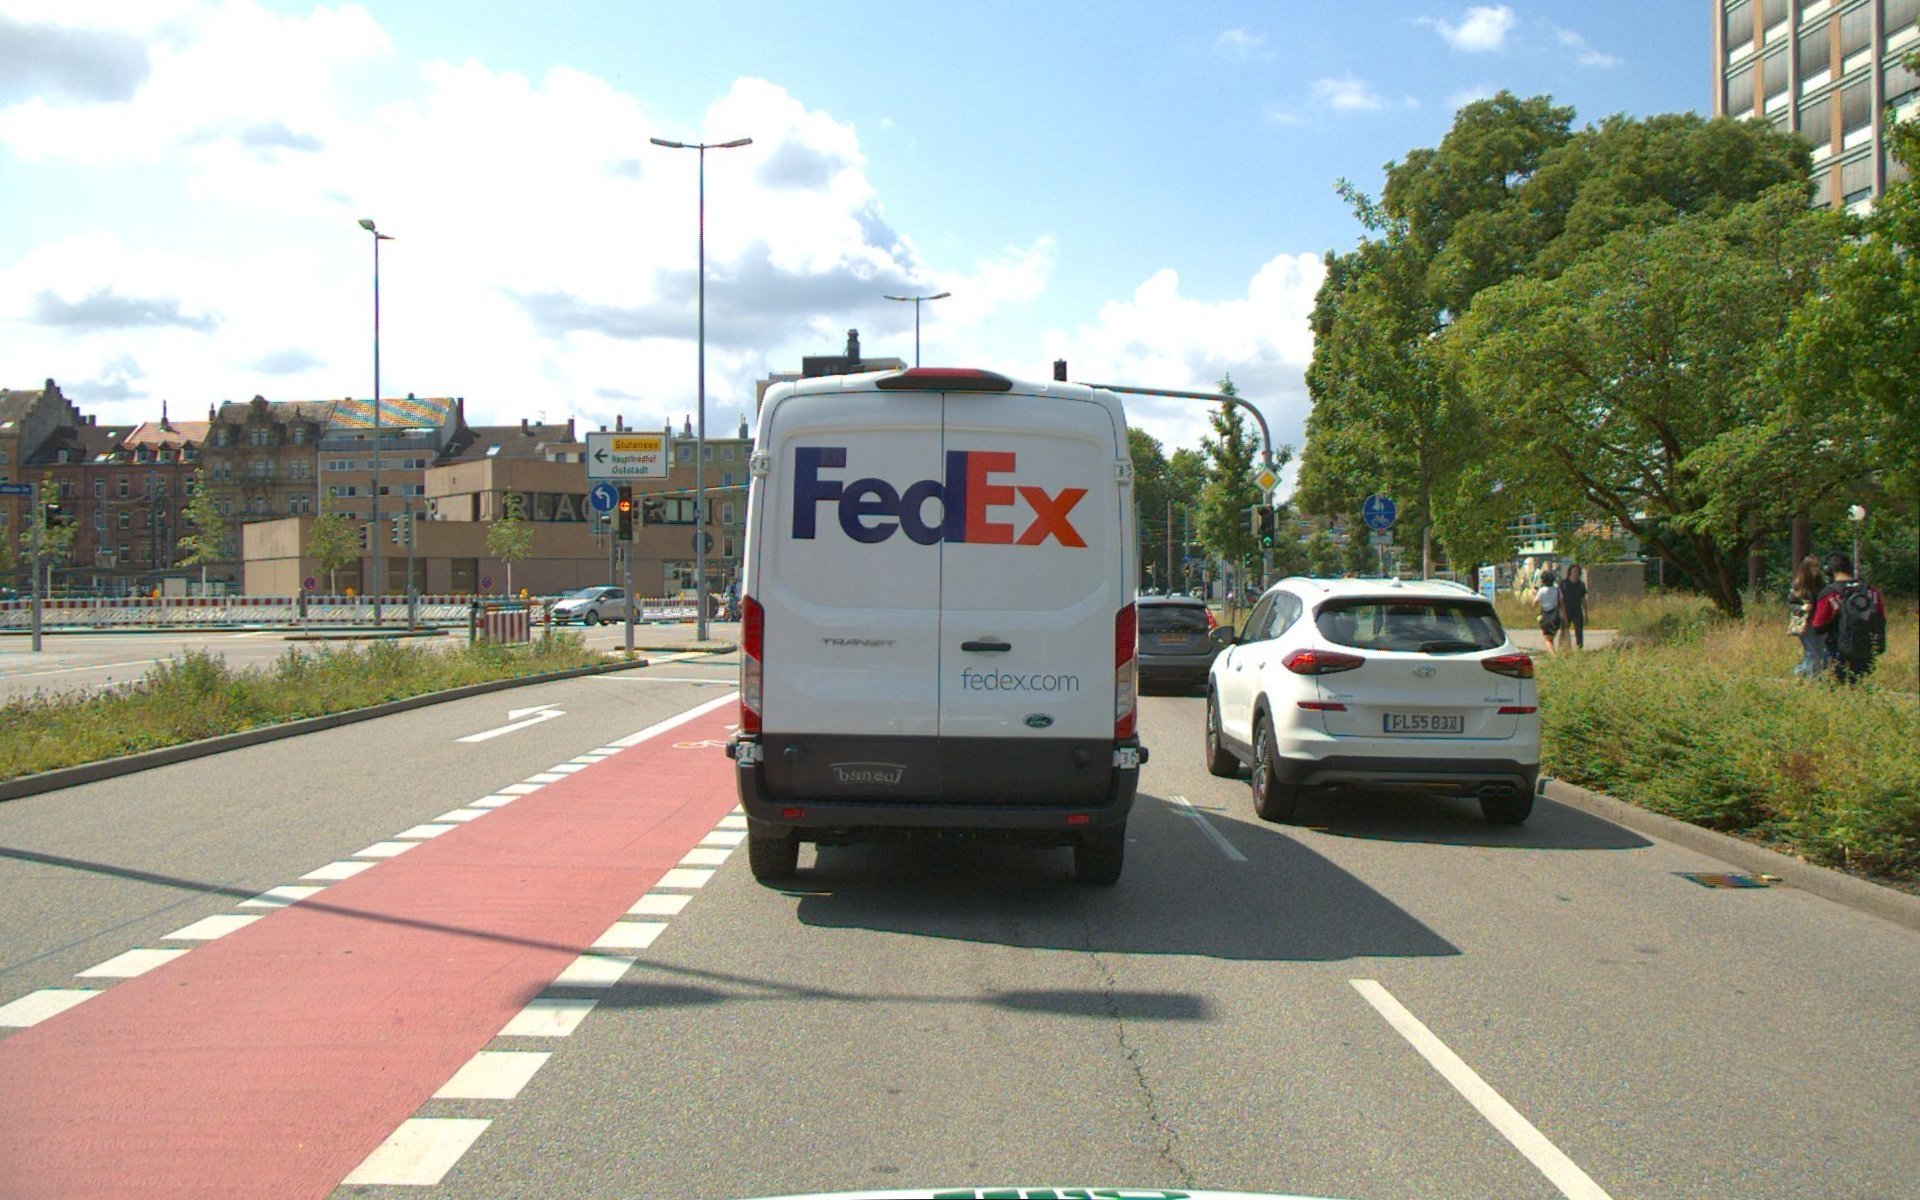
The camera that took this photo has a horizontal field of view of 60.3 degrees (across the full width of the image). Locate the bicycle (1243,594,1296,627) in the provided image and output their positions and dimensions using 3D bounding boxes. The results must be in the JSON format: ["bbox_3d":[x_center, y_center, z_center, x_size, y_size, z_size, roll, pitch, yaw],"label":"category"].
[{"bbox_3d":[11.032,0.386,58.980,1.771,1.068,0.592,-3,-1,6],"label":"bicycle"}]

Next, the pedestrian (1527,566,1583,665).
[{"bbox_3d":[10.035,0.257,27.918,0.653,1.624,0.648,-2,0,-1],"label":"pedestrian"}]

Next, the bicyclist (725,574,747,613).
[{"bbox_3d":[-9.425,-0.283,69.571,0.760,1.647,0.843,-1,0,2],"label":"bicyclist"}]

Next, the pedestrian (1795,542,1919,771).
[{"bbox_3d":[7.337,0.437,13.414,0.653,1.780,0.848,-2,0,-1],"label":"pedestrian"}]

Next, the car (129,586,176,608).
[{"bbox_3d":[-87.605,-0.325,179.481,4.020,2.384,2.001,1,0,5],"label":"car"}]

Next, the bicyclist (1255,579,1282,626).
[{"bbox_3d":[11.003,0.096,58.989,0.810,1.629,0.580,-3,-1,6],"label":"bicyclist"}]

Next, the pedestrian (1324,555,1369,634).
[{"bbox_3d":[9.088,-0.140,38.875,0.735,1.808,0.880,-2,0,-6],"label":"pedestrian"}]

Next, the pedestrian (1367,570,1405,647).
[{"bbox_3d":[10.083,0.196,39.118,0.653,1.777,0.609,-2,0,-7],"label":"pedestrian"}]

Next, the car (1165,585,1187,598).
[{"bbox_3d":[28.144,-1.090,215.262,1.952,1.601,4.178,1,0,21],"label":"car"}]

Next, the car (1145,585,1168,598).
[{"bbox_3d":[25.720,-1.127,216.236,1.952,1.601,4.178,1,0,21],"label":"car"}]

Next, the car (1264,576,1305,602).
[{"bbox_3d":[21.270,-0.743,108.347,1.843,1.670,3.955,0,1,24],"label":"car"}]

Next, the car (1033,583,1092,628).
[{"bbox_3d":[3.724,0.156,59.453,1.841,1.532,4.159,1,1,7],"label":"car"}]

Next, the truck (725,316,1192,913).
[{"bbox_3d":[-0.046,0.058,10.474,2.093,2.686,5.916,1,0,-1],"label":"truck"}]

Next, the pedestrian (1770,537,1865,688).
[{"bbox_3d":[10.466,0.142,20.212,0.653,1.780,0.878,-2,0,-1],"label":"pedestrian"}]

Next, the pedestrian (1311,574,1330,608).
[{"bbox_3d":[17.398,-0.409,79.777,0.740,1.617,0.761,1,-1,1],"label":"pedestrian"}]

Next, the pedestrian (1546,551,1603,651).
[{"bbox_3d":[11.188,0.021,30.129,0.734,1.780,0.667,-2,0,-1],"label":"pedestrian"}]

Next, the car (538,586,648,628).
[{"bbox_3d":[-14.015,0.289,63.386,1.956,1.534,4.010,1,0,29],"label":"car"}]

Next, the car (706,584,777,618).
[{"bbox_3d":[-10.165,0.025,77.142,1.951,1.512,3.908,-1,1,15],"label":"car"}]

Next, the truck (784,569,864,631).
[{"bbox_3d":[-7.124,0.006,87.653,1.951,3.121,7.336,1,0,14],"label":"truck"}]

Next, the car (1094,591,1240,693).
[{"bbox_3d":[3.159,0.603,25.976,1.875,1.444,3.919,0,1,1],"label":"car"}]

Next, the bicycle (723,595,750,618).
[{"bbox_3d":[-9.415,0.276,69.643,0.760,0.905,2.109,-1,1,2],"label":"bicycle"}]

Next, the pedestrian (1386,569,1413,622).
[{"bbox_3d":[15.015,-0.161,56.505,0.734,1.783,0.610,-2,0,6],"label":"pedestrian"}]

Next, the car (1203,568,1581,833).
[{"bbox_3d":[3.042,0.611,12.581,1.842,1.670,4.233,0,1,1],"label":"car"}]
